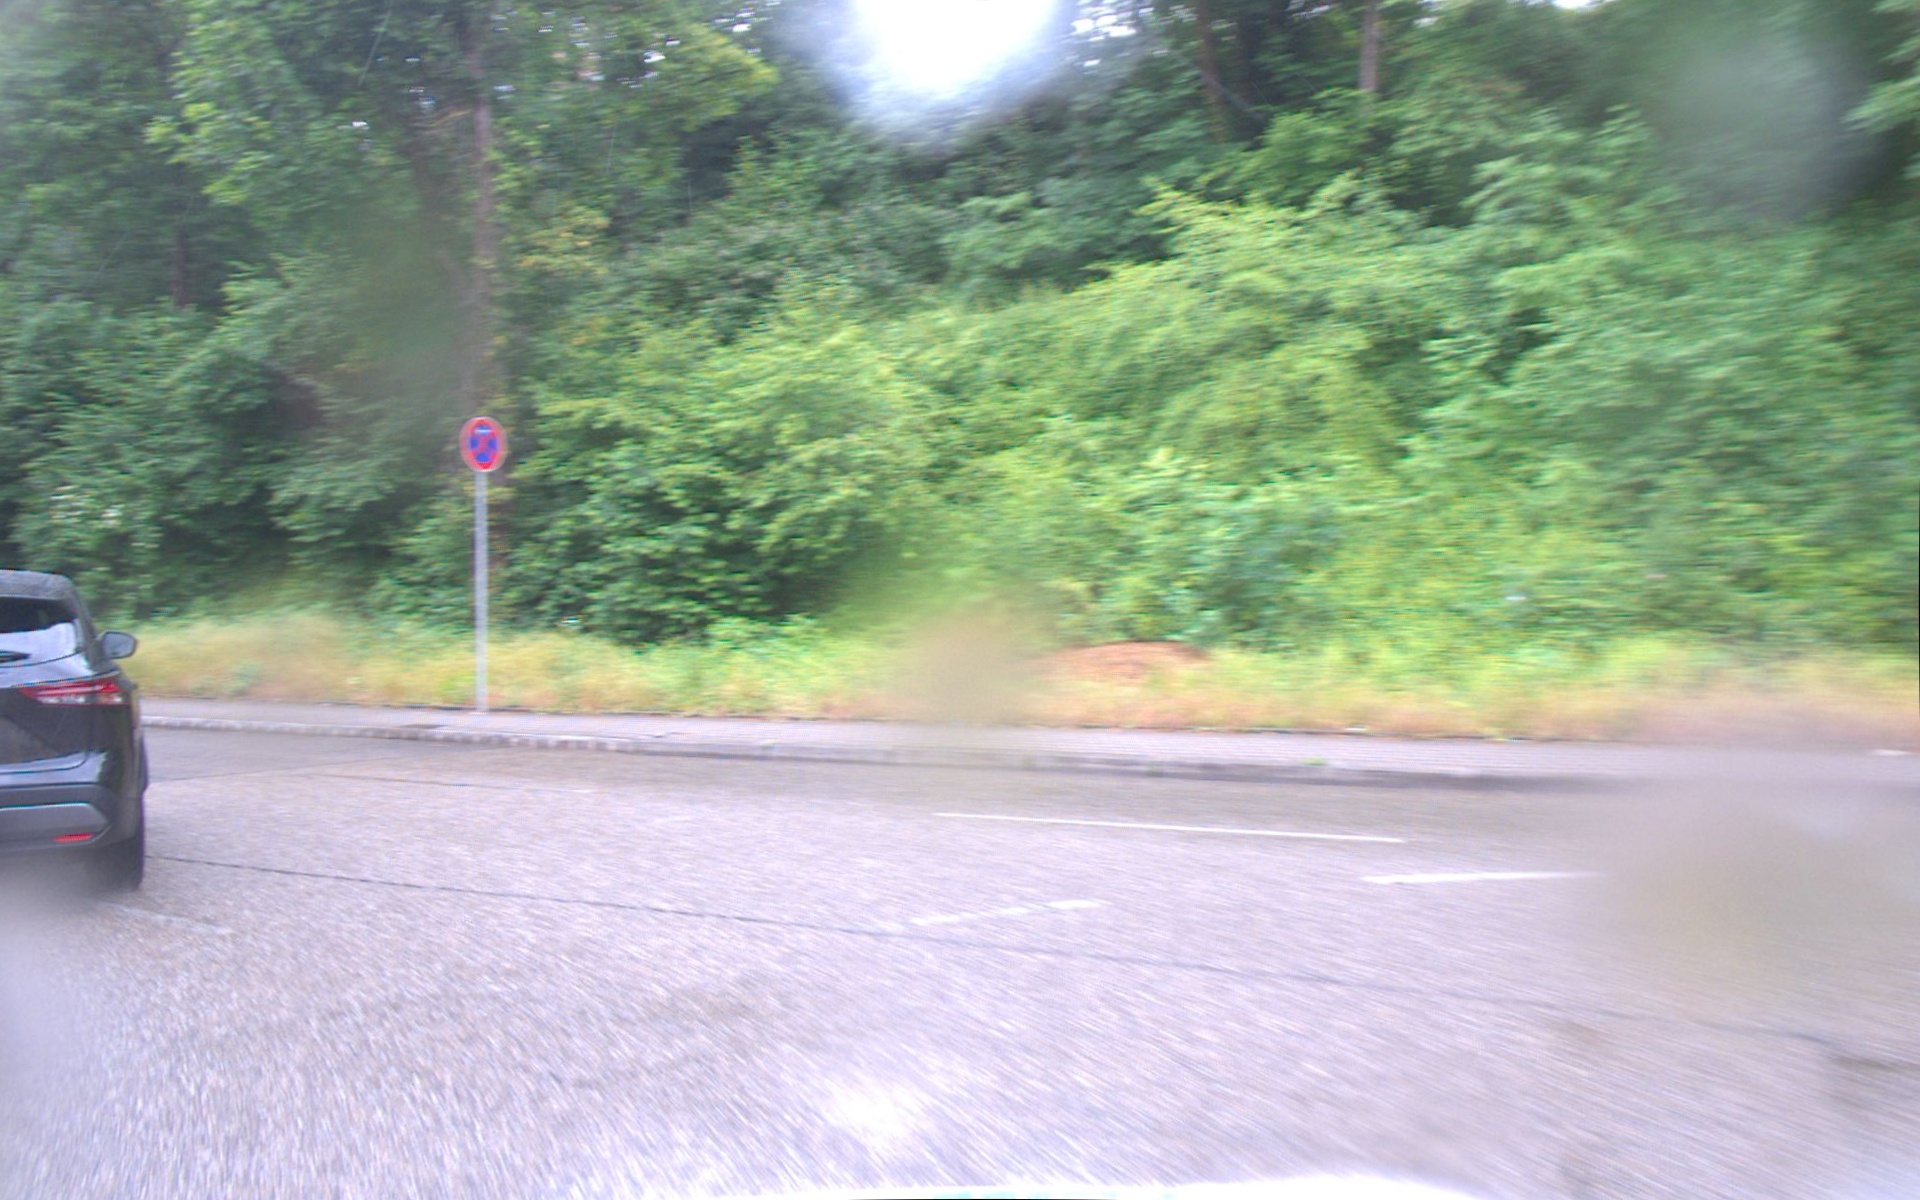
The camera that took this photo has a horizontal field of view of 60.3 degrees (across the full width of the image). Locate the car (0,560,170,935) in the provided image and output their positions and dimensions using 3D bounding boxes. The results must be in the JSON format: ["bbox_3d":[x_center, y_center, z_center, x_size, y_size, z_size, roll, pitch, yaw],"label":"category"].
[{"bbox_3d":[-5.466,0.628,8.741,1.795,1.630,3.953,-1,1,-33],"label":"car"}]
